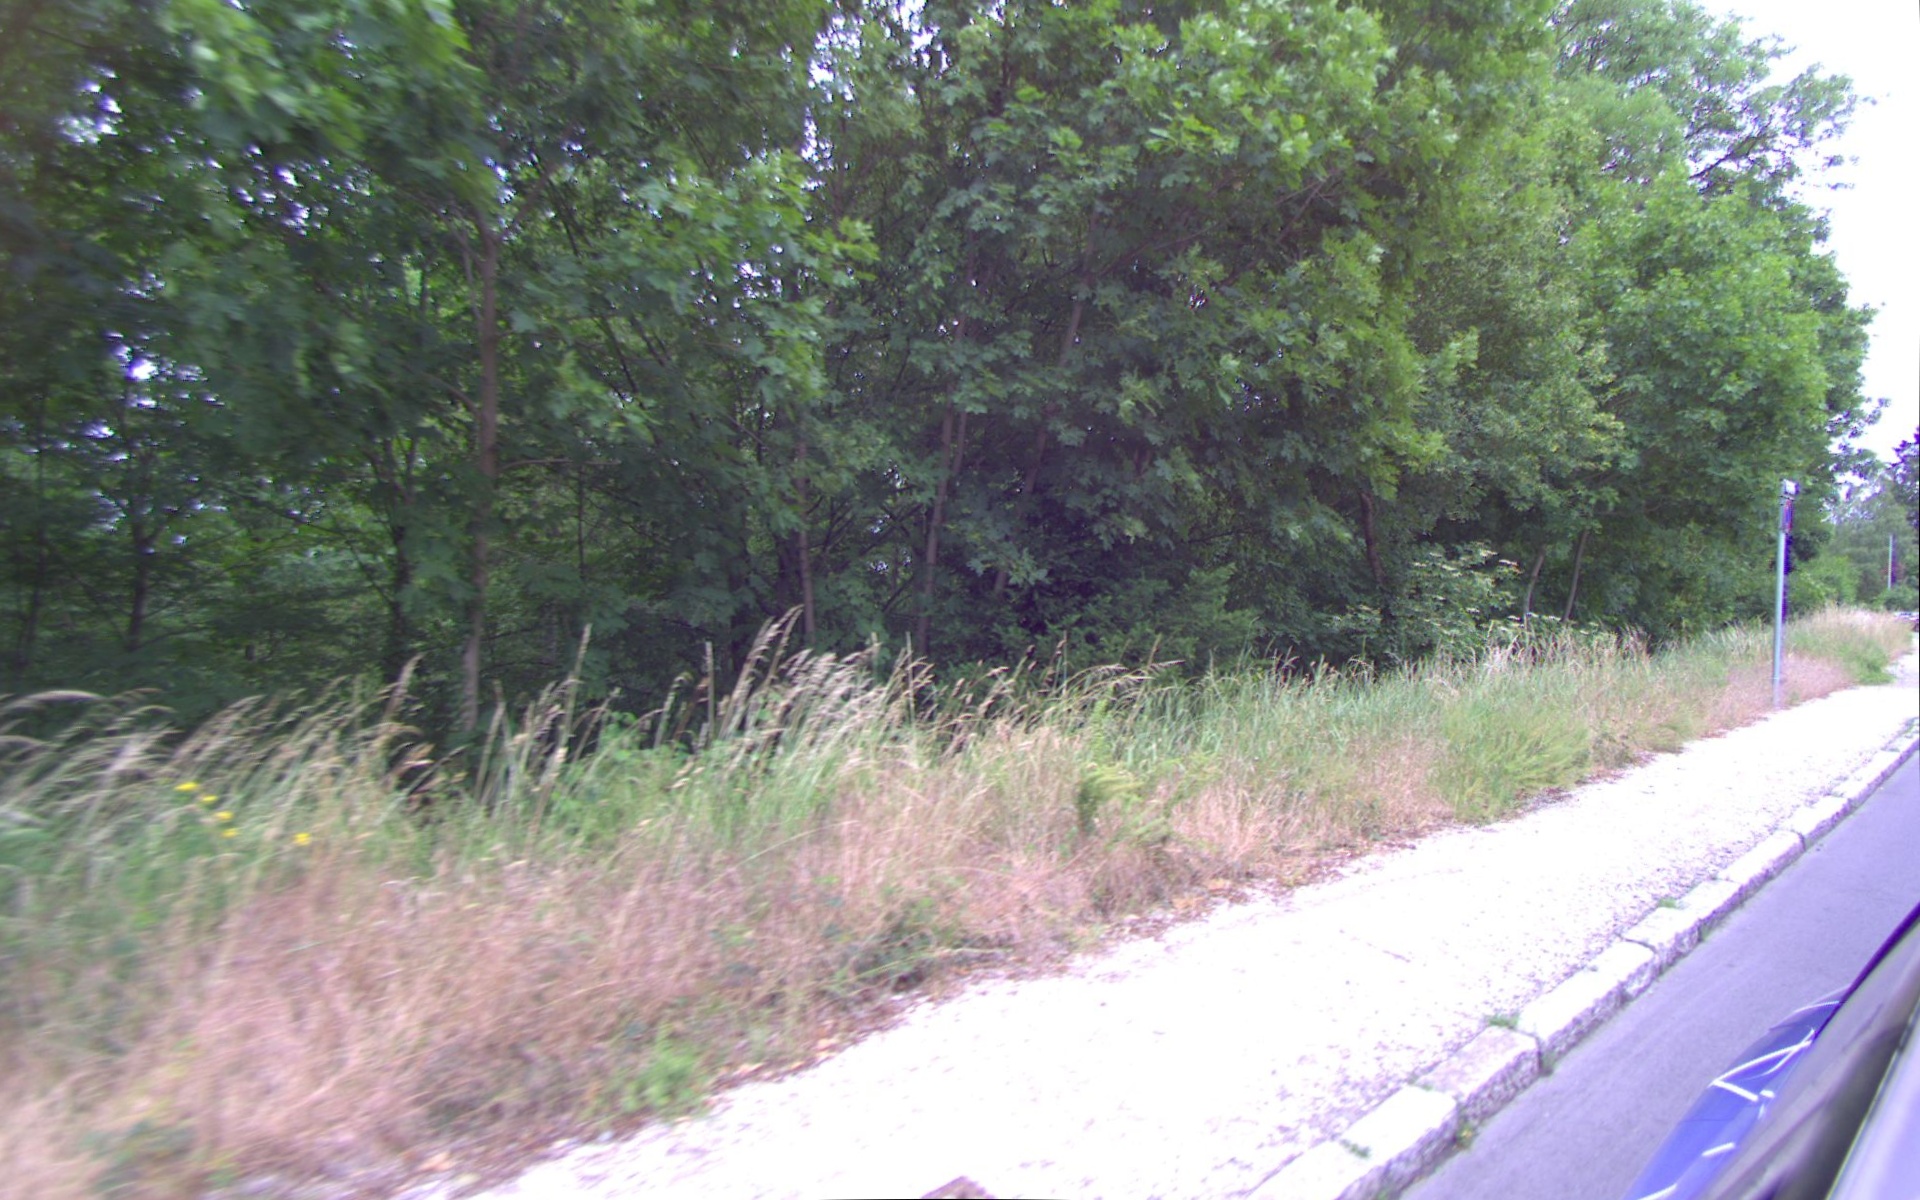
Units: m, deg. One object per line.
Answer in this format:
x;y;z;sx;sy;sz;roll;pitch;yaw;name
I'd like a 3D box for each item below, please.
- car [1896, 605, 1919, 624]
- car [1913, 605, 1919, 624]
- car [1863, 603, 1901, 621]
72.821;1.093;76.912;1.699;1.434;4.103;0;0;31;car
70.503;1.073;72.969;1.699;1.434;4.086;0;0;31;car
81.126;1.056;89.091;1.699;1.530;3.902;0;0;31;car
